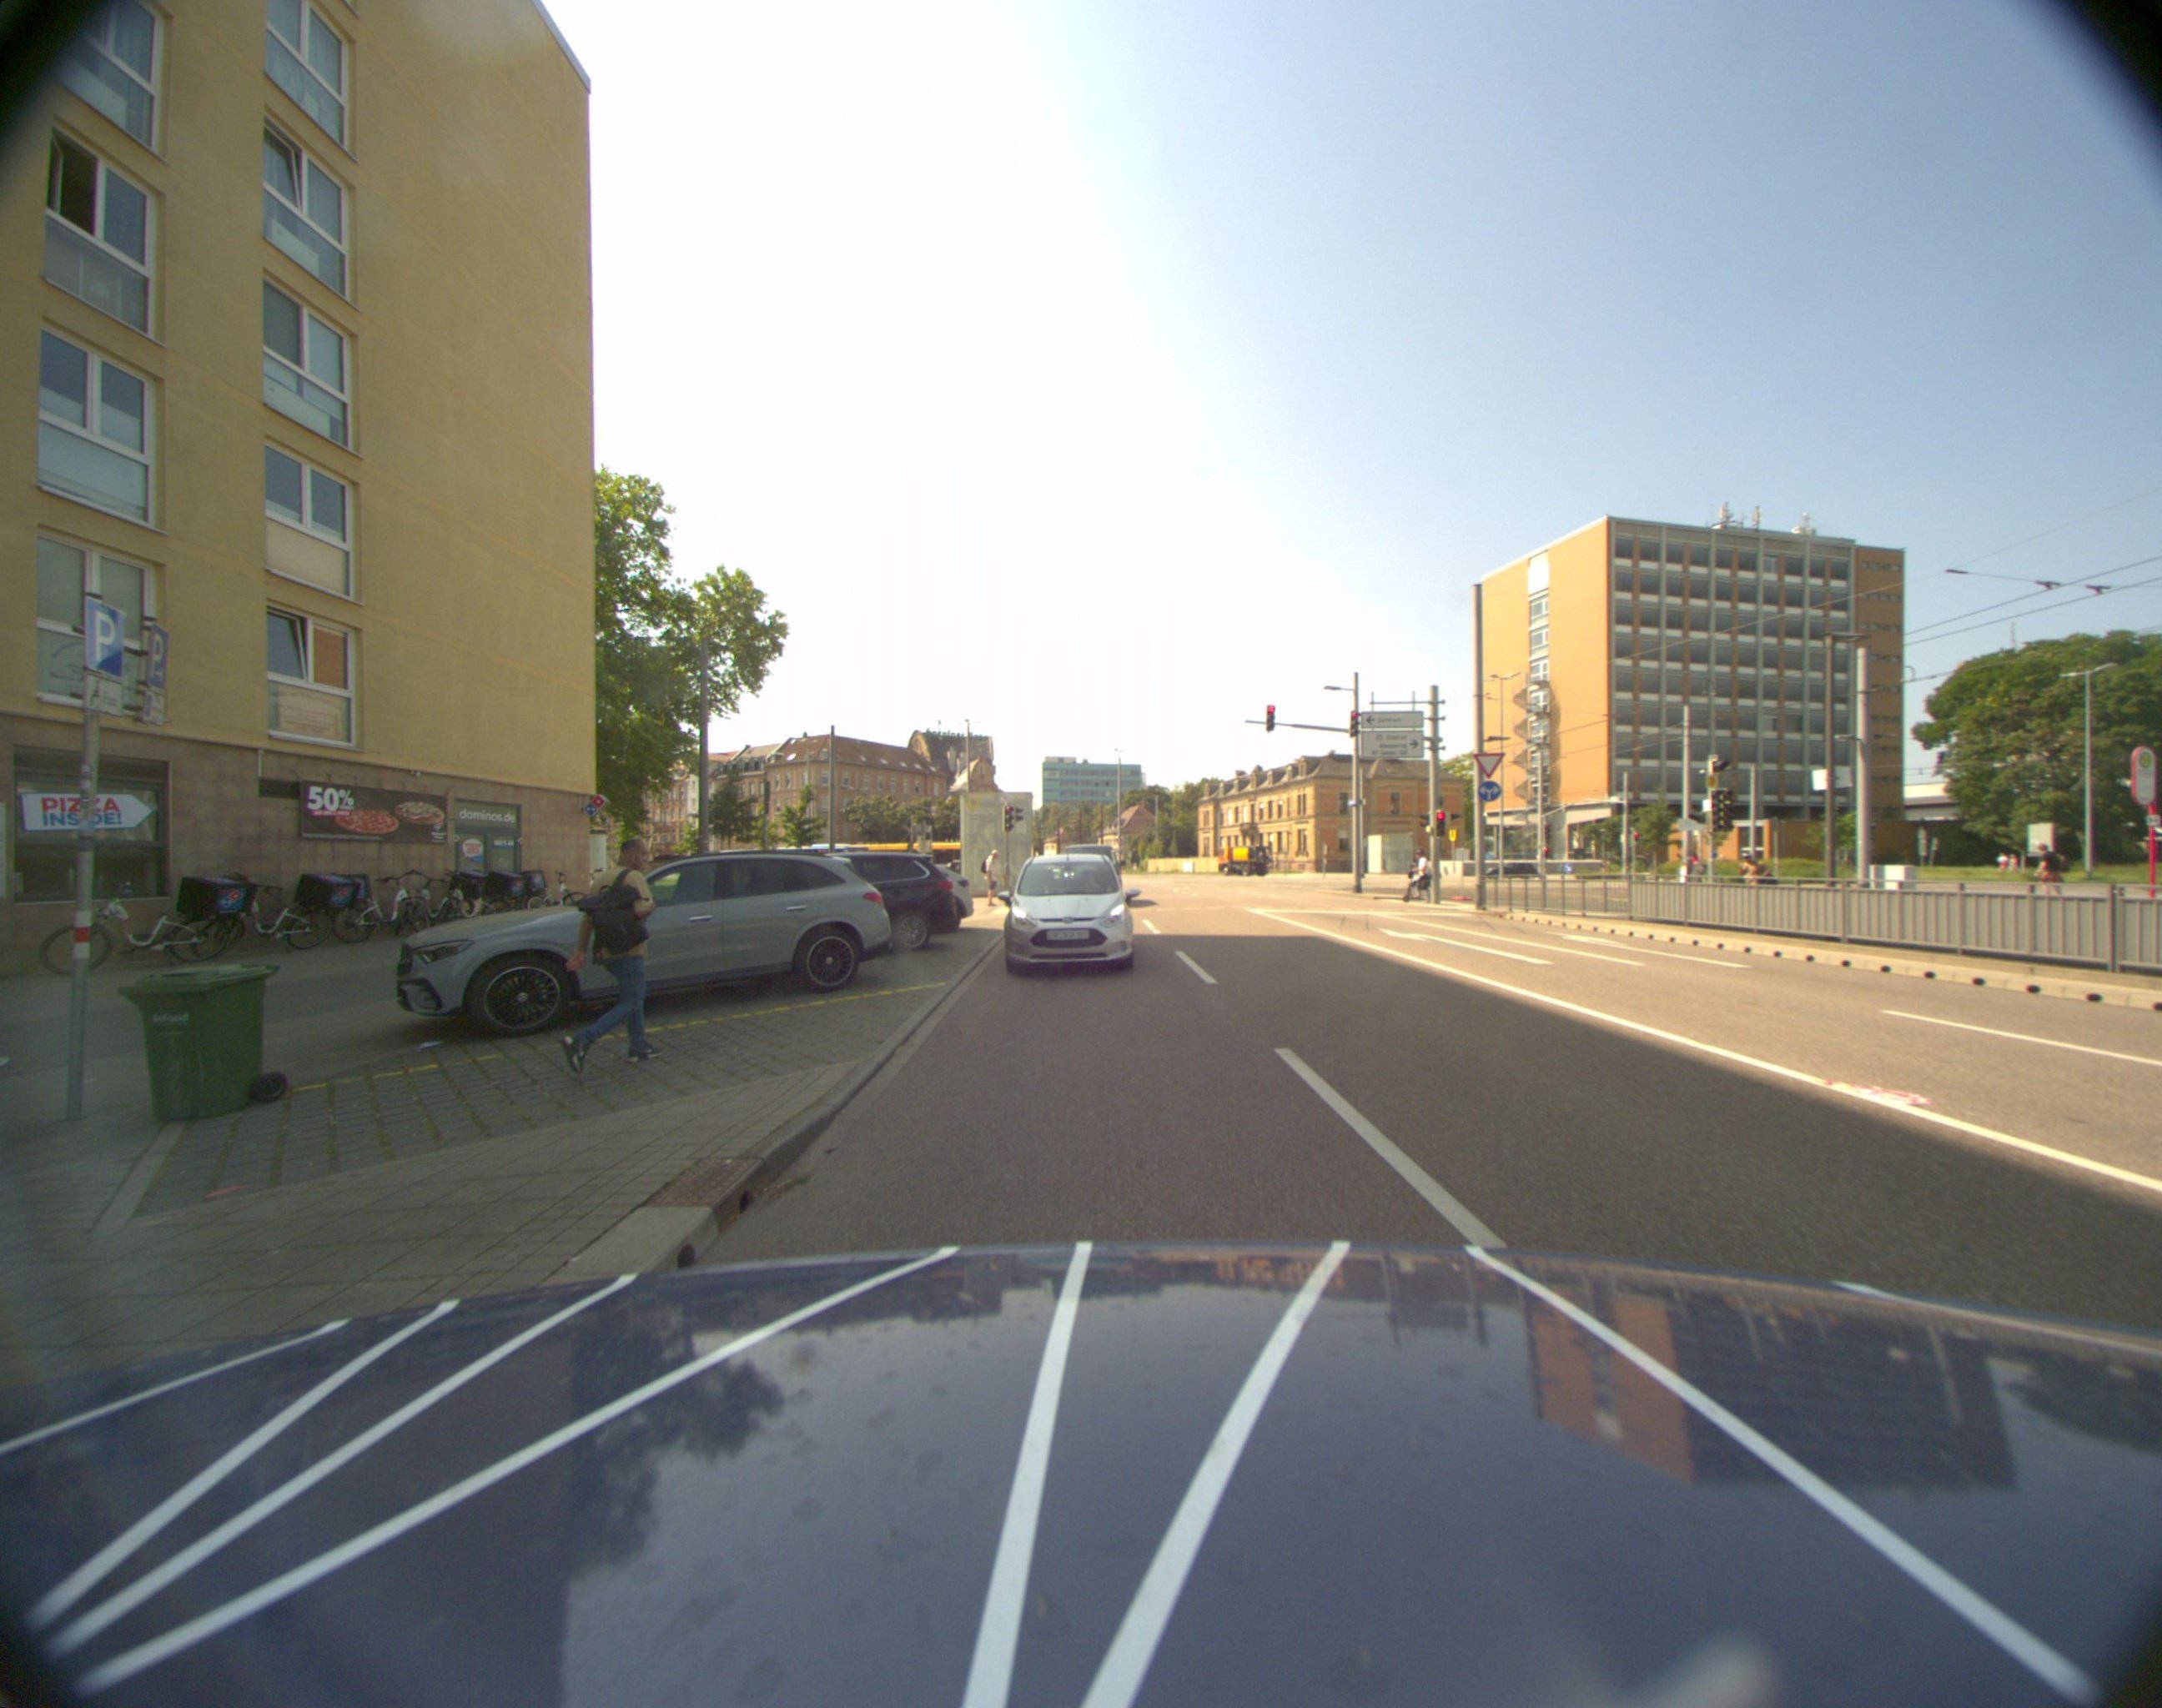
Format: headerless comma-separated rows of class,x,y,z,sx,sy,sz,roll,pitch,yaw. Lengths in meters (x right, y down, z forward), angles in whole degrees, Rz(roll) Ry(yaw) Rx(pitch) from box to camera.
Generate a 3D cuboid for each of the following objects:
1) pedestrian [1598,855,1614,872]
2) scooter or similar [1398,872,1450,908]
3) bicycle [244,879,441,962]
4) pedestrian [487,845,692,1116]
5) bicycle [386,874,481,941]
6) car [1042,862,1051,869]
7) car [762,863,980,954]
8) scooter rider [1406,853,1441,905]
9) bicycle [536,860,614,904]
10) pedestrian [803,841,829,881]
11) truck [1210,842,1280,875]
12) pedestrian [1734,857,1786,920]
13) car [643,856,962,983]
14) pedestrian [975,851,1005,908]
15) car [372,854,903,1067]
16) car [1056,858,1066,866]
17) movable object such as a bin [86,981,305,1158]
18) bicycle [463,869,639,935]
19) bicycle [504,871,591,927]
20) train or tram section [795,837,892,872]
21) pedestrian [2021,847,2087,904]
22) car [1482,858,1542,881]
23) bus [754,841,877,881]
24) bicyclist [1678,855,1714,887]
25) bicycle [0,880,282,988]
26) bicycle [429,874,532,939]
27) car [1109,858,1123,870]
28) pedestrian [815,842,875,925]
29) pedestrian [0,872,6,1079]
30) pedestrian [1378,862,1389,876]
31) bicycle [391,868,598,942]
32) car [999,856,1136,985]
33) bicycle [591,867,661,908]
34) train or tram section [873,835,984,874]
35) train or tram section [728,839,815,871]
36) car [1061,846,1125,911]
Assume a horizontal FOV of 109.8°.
pedestrian,45.518,0.816,65.851,0.847,1.386,0.787,0,0,2
scooter or similar,11.131,1.153,24.682,1.341,1.142,0.709,0,0,-1
bicycle,-12.583,1.085,13.106,0.941,1.231,2.423,0,0,3
pedestrian,-3.489,0.845,5.489,0.868,1.740,0.872,-3,-1,-5
bicycle,-13.070,1.047,15.405,0.409,1.231,1.827,0,0,-2
car,-9.174,3.081,203.896,2.000,1.892,3.998,0,-2,-9
car,-4.167,1.006,15.367,3.793,1.491,1.802,-2,-1,-41
scooter rider,11.125,0.811,24.678,0.773,1.663,0.779,0,0,-3
bicycle,-14.123,0.776,21.251,1.727,1.199,0.589,0,0,-7
pedestrian,-10.935,0.286,31.401,0.793,1.599,0.949,0,1,-3
truck,16.698,0.552,77.902,3.047,3.209,7.176,1,-2,-28
pedestrian,17.968,0.910,20.125,0.574,1.648,0.800,0,-2,-18
car,-4.341,0.880,12.250,4.402,1.677,1.981,0,0,-42
pedestrian,-2.930,0.800,24.655,0.821,1.797,0.814,-2,0,0
car,-4.568,0.858,8.366,4.675,1.703,2.038,0,0,-42
car,-4.854,1.992,186.160,2.000,1.673,3.998,0,-2,-9
movable object such as a bin,-5.647,1.347,4.891,0.538,0.911,0.700,-3,0,-3
bicycle,-12.496,1.085,18.068,3.370,1.396,0.902,0,0,-36
bicycle,-12.799,1.054,18.298,0.730,1.239,1.960,0,0,-1
train or tram section,-25.478,0.094,81.171,12.182,3.539,2.601,0,0,32
pedestrian,30.471,0.656,23.810,0.785,1.769,0.959,0,1,3
car,35.553,1.315,62.732,3.991,1.782,2.004,-1,-2,19
bus,-21.783,0.595,61.763,12.048,3.046,2.740,-1,0,34
bicyclist,28.793,0.798,35.574,0.877,1.451,0.980,0,0,4
bicycle,-12.649,1.007,10.334,0.941,1.231,2.423,0,0,3
bicycle,-12.325,1.044,15.634,0.590,1.231,1.548,0,0,33
car,6.315,1.819,139.194,2.000,2.001,3.999,0,-2,-6
pedestrian,-5.027,0.604,16.179,1.039,1.694,0.902,-2,0,-26
pedestrian,-8.346,0.924,5.178,0.854,1.572,0.968,-1,1,-33
pedestrian,29.603,1.451,74.381,0.847,1.386,0.787,0,0,2
bicycle,-12.174,1.009,15.970,3.370,1.396,0.902,0,0,-36
car,-0.112,0.829,11.565,1.691,1.585,4.361,0,0,2
bicycle,-14.582,1.050,24.433,0.794,1.231,2.435,0,0,0
train or tram section,-15.160,0.072,74.715,12.182,3.539,2.601,0,0,32
train or tram section,-35.803,0.137,87.620,12.182,3.539,2.601,0,0,32
car,0.429,0.756,24.992,1.899,1.919,4.886,0,0,1
